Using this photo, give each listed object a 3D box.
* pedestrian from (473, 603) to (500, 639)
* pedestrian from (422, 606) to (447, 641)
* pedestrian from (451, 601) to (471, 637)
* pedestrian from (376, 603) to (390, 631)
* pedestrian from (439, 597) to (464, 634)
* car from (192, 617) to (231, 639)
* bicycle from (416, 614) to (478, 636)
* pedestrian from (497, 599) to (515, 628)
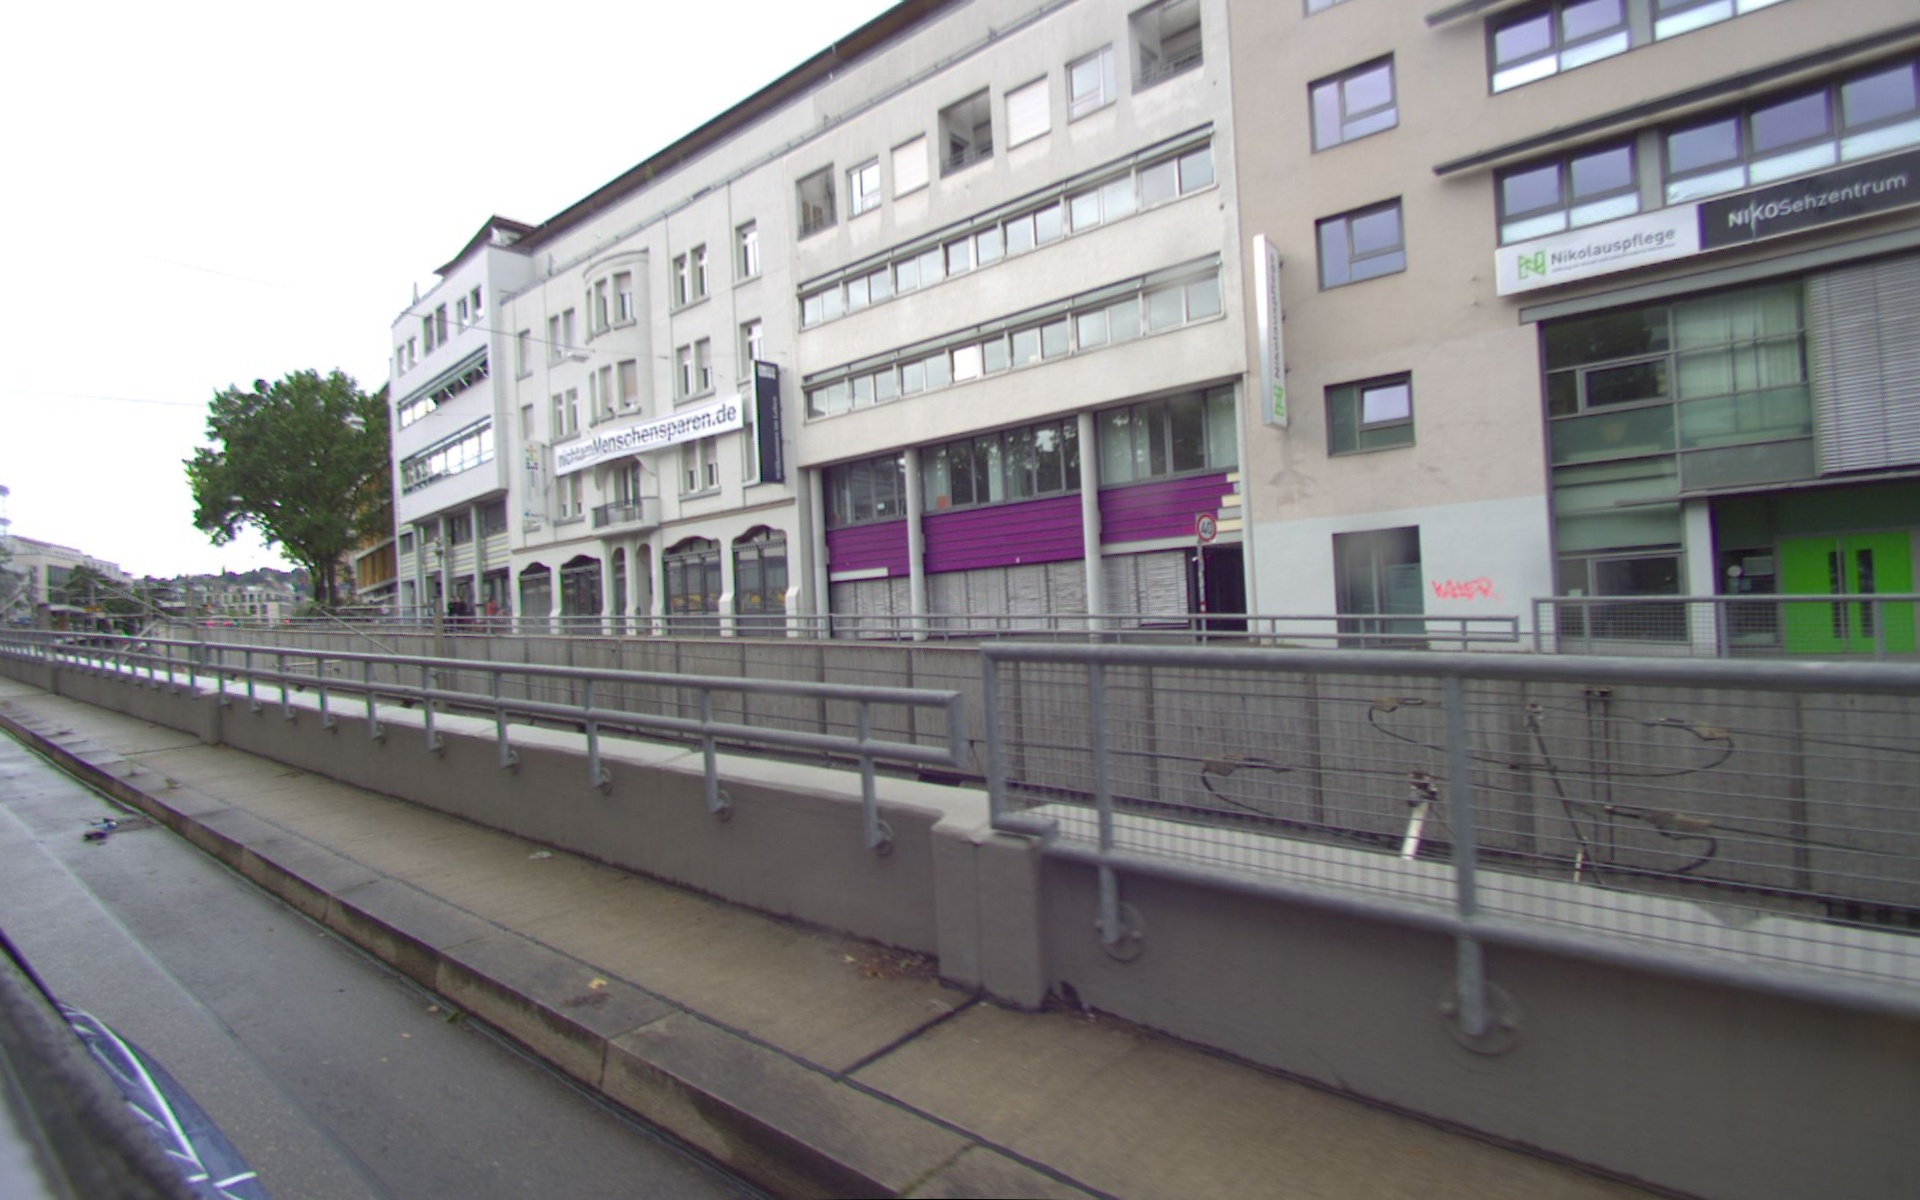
[{"bbox_3d":[-22.063,0.970,47.189,0.937,1.628,0.667,-2,0,26],"label":"pedestrian"},{"bbox_3d":[-25.391,1.117,48.904,0.784,1.655,0.674,-2,0,-2],"label":"pedestrian"},{"bbox_3d":[-24.300,0.911,49.276,0.601,1.735,0.673,-2,0,1],"label":"pedestrian"},{"bbox_3d":[-38.522,1.163,67.533,0.657,1.863,0.831,1,-3,-40],"label":"pedestrian"},{"bbox_3d":[-25.213,0.768,50.189,0.937,1.798,0.667,-2,0,26],"label":"pedestrian"},{"bbox_3d":[-62.536,2.317,84.545,4.577,1.726,1.816,-2,-1,43],"label":"car"},{"bbox_3d":[-27.492,1.302,54.165,1.673,1.051,4.525,-2,1,-44],"label":"bicycle"},{"bbox_3d":[-22.749,0.676,50.736,0.600,1.430,0.674,-2,-1,-44],"label":"pedestrian"}]
